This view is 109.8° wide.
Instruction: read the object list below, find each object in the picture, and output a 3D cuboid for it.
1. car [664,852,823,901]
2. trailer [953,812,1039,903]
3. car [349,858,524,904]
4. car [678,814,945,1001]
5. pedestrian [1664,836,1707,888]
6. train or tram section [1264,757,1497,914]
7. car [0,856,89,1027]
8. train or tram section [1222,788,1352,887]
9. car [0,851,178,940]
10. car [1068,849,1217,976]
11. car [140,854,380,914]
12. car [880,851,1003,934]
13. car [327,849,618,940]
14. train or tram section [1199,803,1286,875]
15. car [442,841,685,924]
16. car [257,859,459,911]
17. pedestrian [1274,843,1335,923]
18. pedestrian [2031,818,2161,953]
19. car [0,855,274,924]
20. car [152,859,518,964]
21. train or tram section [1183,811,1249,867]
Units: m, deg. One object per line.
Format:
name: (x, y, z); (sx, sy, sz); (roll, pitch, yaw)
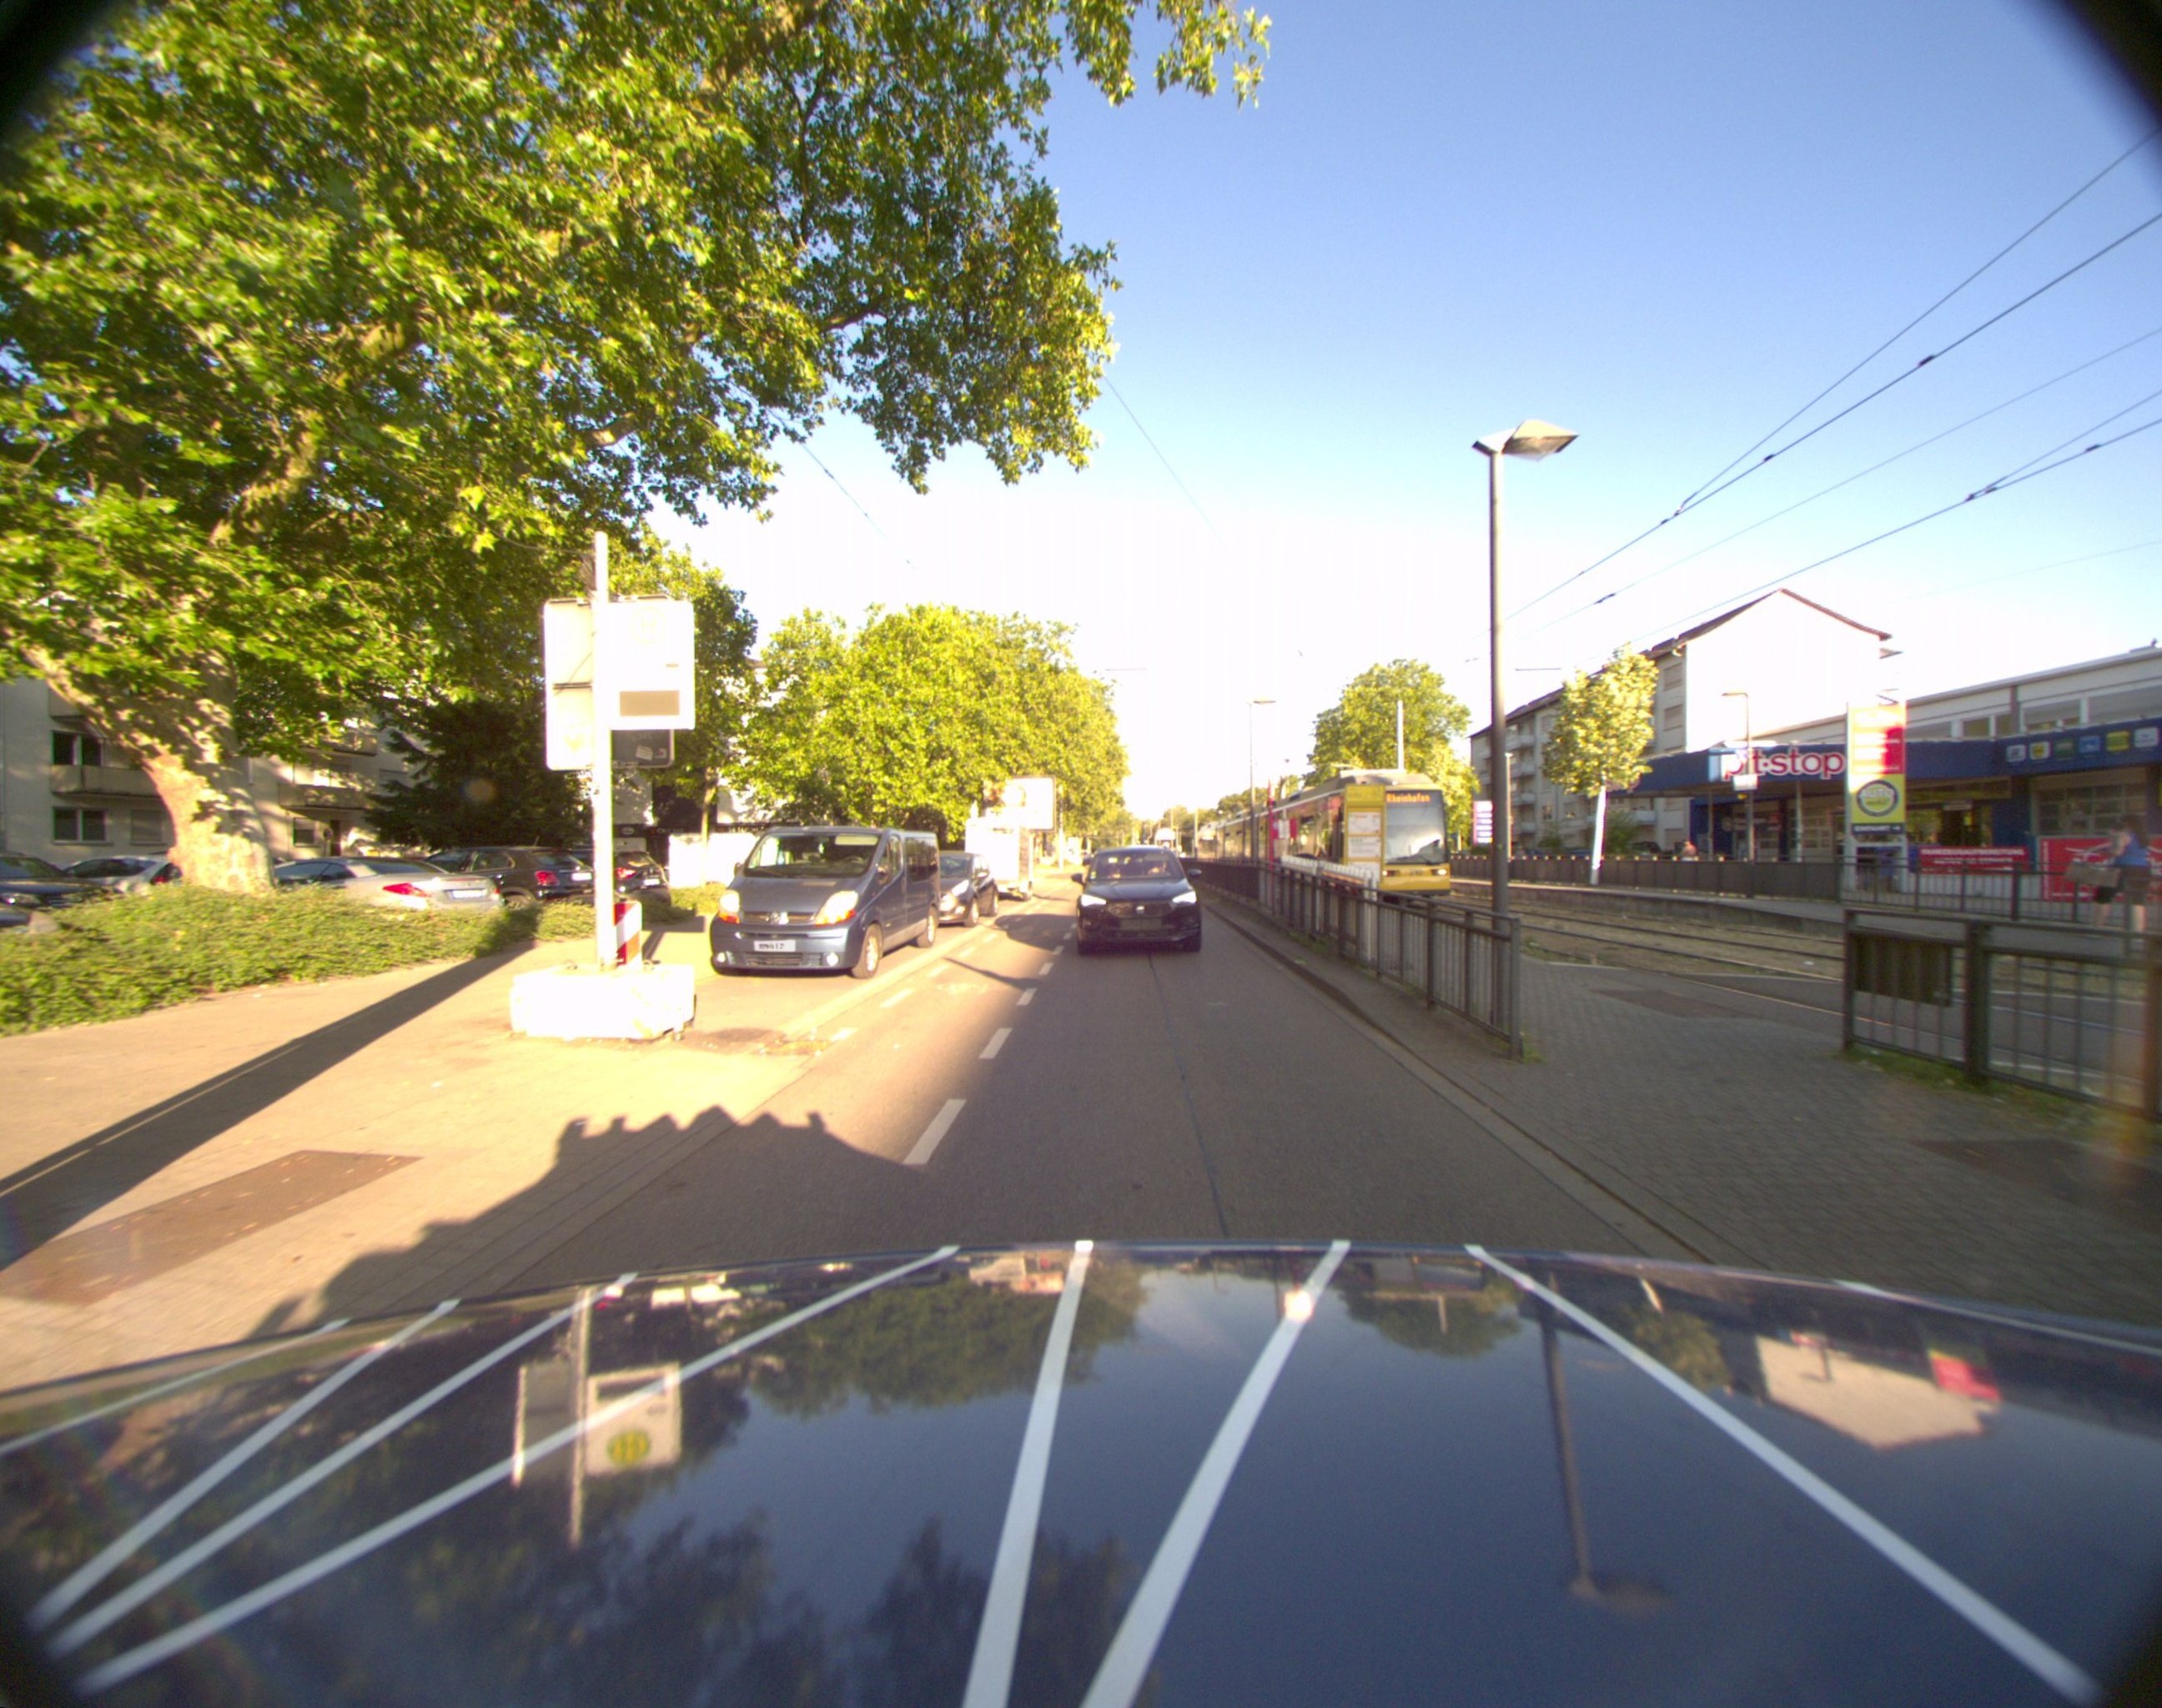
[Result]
car: (-10.929, 0.708, 24.839); (4.292, 1.487, 2.000); (-1, 1, 1)
trailer: (-2.560, 0.087, 23.950); (1.889, 2.573, 4.651); (-1, 1, 3)
car: (-22.085, 0.896, 26.176); (4.292, 1.487, 2.000); (0, 1, 0)
car: (-3.408, 0.587, 10.729); (1.889, 2.066, 4.563); (-1, 0, 3)
pedestrian: (22.255, 0.289, 27.988); (0.755, 1.871, 1.000); (-3, 1, 2)
train or tram section: (7.911, -0.497, 22.068); (3.042, 3.497, 10.096); (1, 1, 2)
car: (-11.489, 0.774, 6.412); (4.121, 1.486, 1.803); (0, 1, 4)
train or tram section: (8.288, -0.674, 32.141); (3.042, 3.497, 10.096); (1, 1, 2)
car: (-21.795, 0.795, 15.423); (4.454, 1.681, 2.000); (-1, 1, 0)
car: (0.816, 0.770, 12.124); (1.910, 1.606, 4.085); (-3, 0, 0)
car: (-22.169, 0.770, 20.655); (4.292, 1.526, 2.000); (0, 1, 0)
car: (-2.995, 0.761, 17.131); (1.799, 1.621, 4.001); (-1, 0, 3)
car: (-11.310, 0.708, 14.297); (4.121, 1.590, 1.803); (0, 1, 4)
train or tram section: (8.676, -0.833, 42.218); (3.042, 3.497, 10.096); (1, 1, 2)
car: (-11.244, 0.596, 16.684); (4.121, 1.541, 1.803); (-3, 0, 4)
car: (-22.292, 0.921, 23.563); (4.292, 1.487, 2.000); (-1, 1, 0)
pedestrian: (4.493, 0.563, 15.338); (0.918, 1.541, 0.789); (-2, 1, -5)
pedestrian: (13.438, 0.385, 9.882); (0.936, 1.644, 0.926); (-3, 1, 3)
car: (-22.490, 0.807, 18.111); (4.292, 1.487, 2.000); (-1, 1, 0)
car: (-11.528, 0.833, 11.931); (4.121, 1.486, 1.803); (0, 1, 4)
train or tram section: (9.055, -1.015, 52.322); (3.042, 3.497, 10.096); (1, 1, 2)
